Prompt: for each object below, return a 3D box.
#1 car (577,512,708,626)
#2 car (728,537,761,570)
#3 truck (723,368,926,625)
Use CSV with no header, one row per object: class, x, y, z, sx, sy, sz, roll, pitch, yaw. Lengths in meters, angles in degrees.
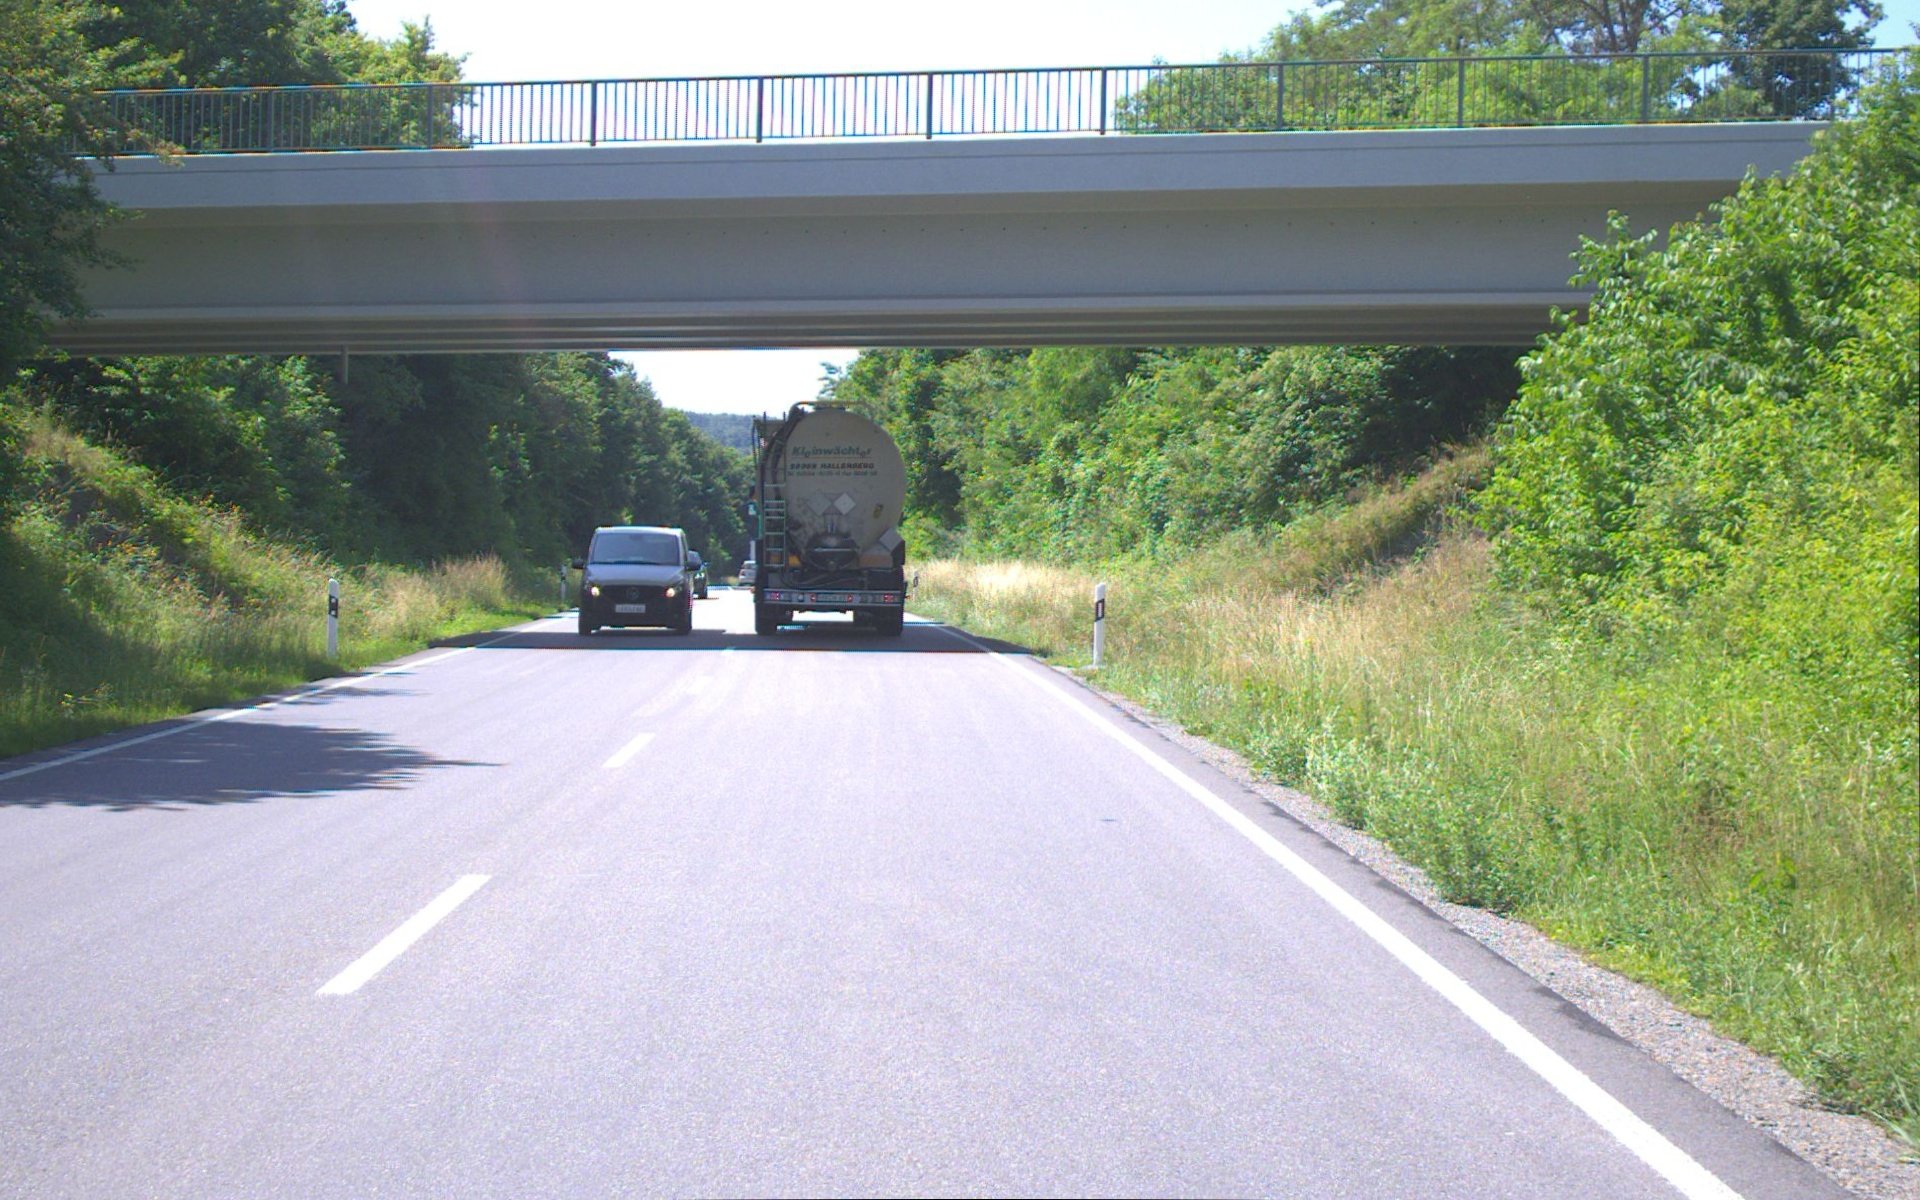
car,-5.521,-0.567,60.337,1.931,1.899,5.328,1,1,-2
car,-13.200,-2.858,210.333,1.993,2.007,4.001,1,1,-4
truck,-2.347,-1.666,63.350,3.049,3.985,15.637,3,0,-1
